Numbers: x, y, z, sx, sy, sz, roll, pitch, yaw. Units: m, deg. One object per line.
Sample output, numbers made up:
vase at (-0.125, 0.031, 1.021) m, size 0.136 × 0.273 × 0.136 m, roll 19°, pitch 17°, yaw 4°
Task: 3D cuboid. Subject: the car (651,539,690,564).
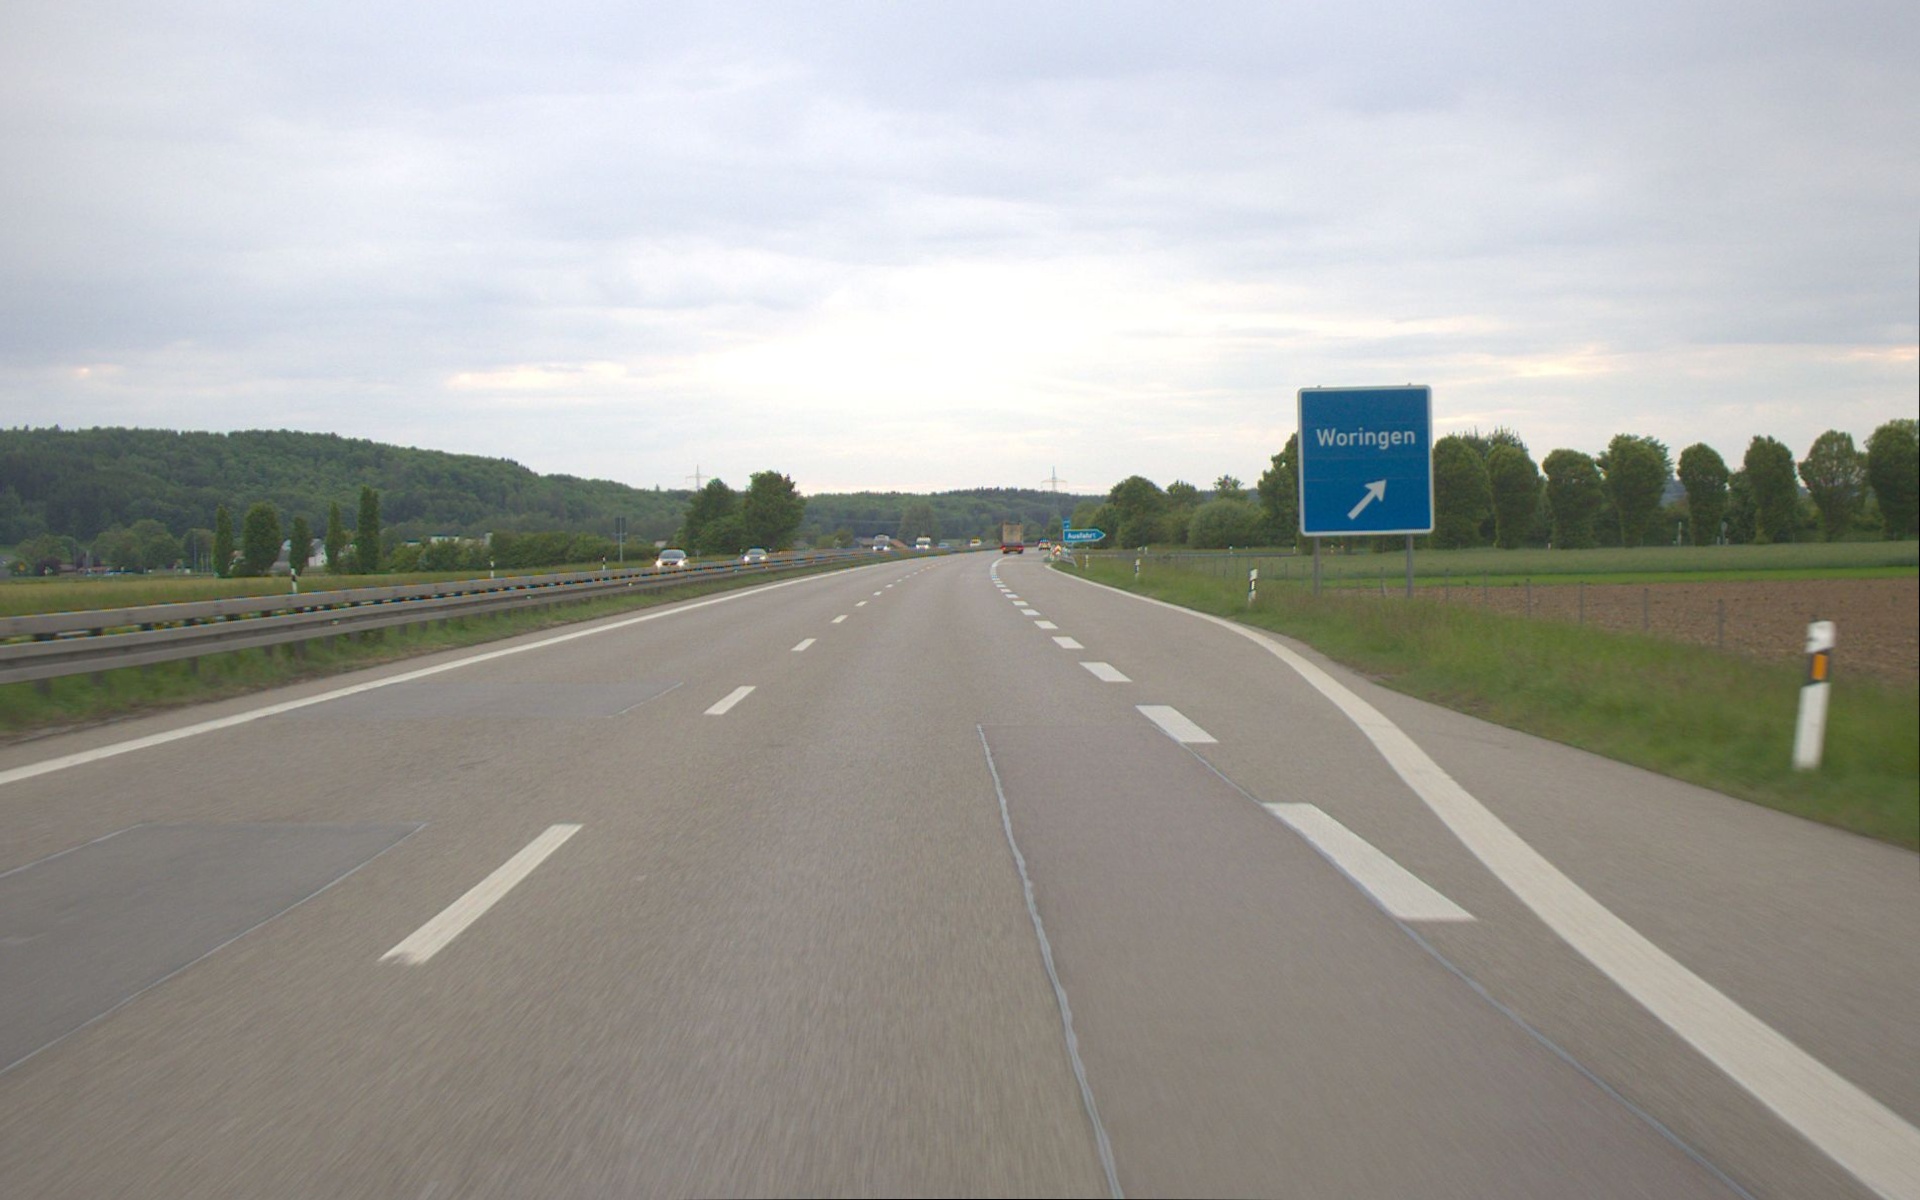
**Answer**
car at (-17.464, -2.918, 207.450) m, size 1.993 × 1.475 × 4.452 m, roll 1°, pitch 1°, yaw 0°
